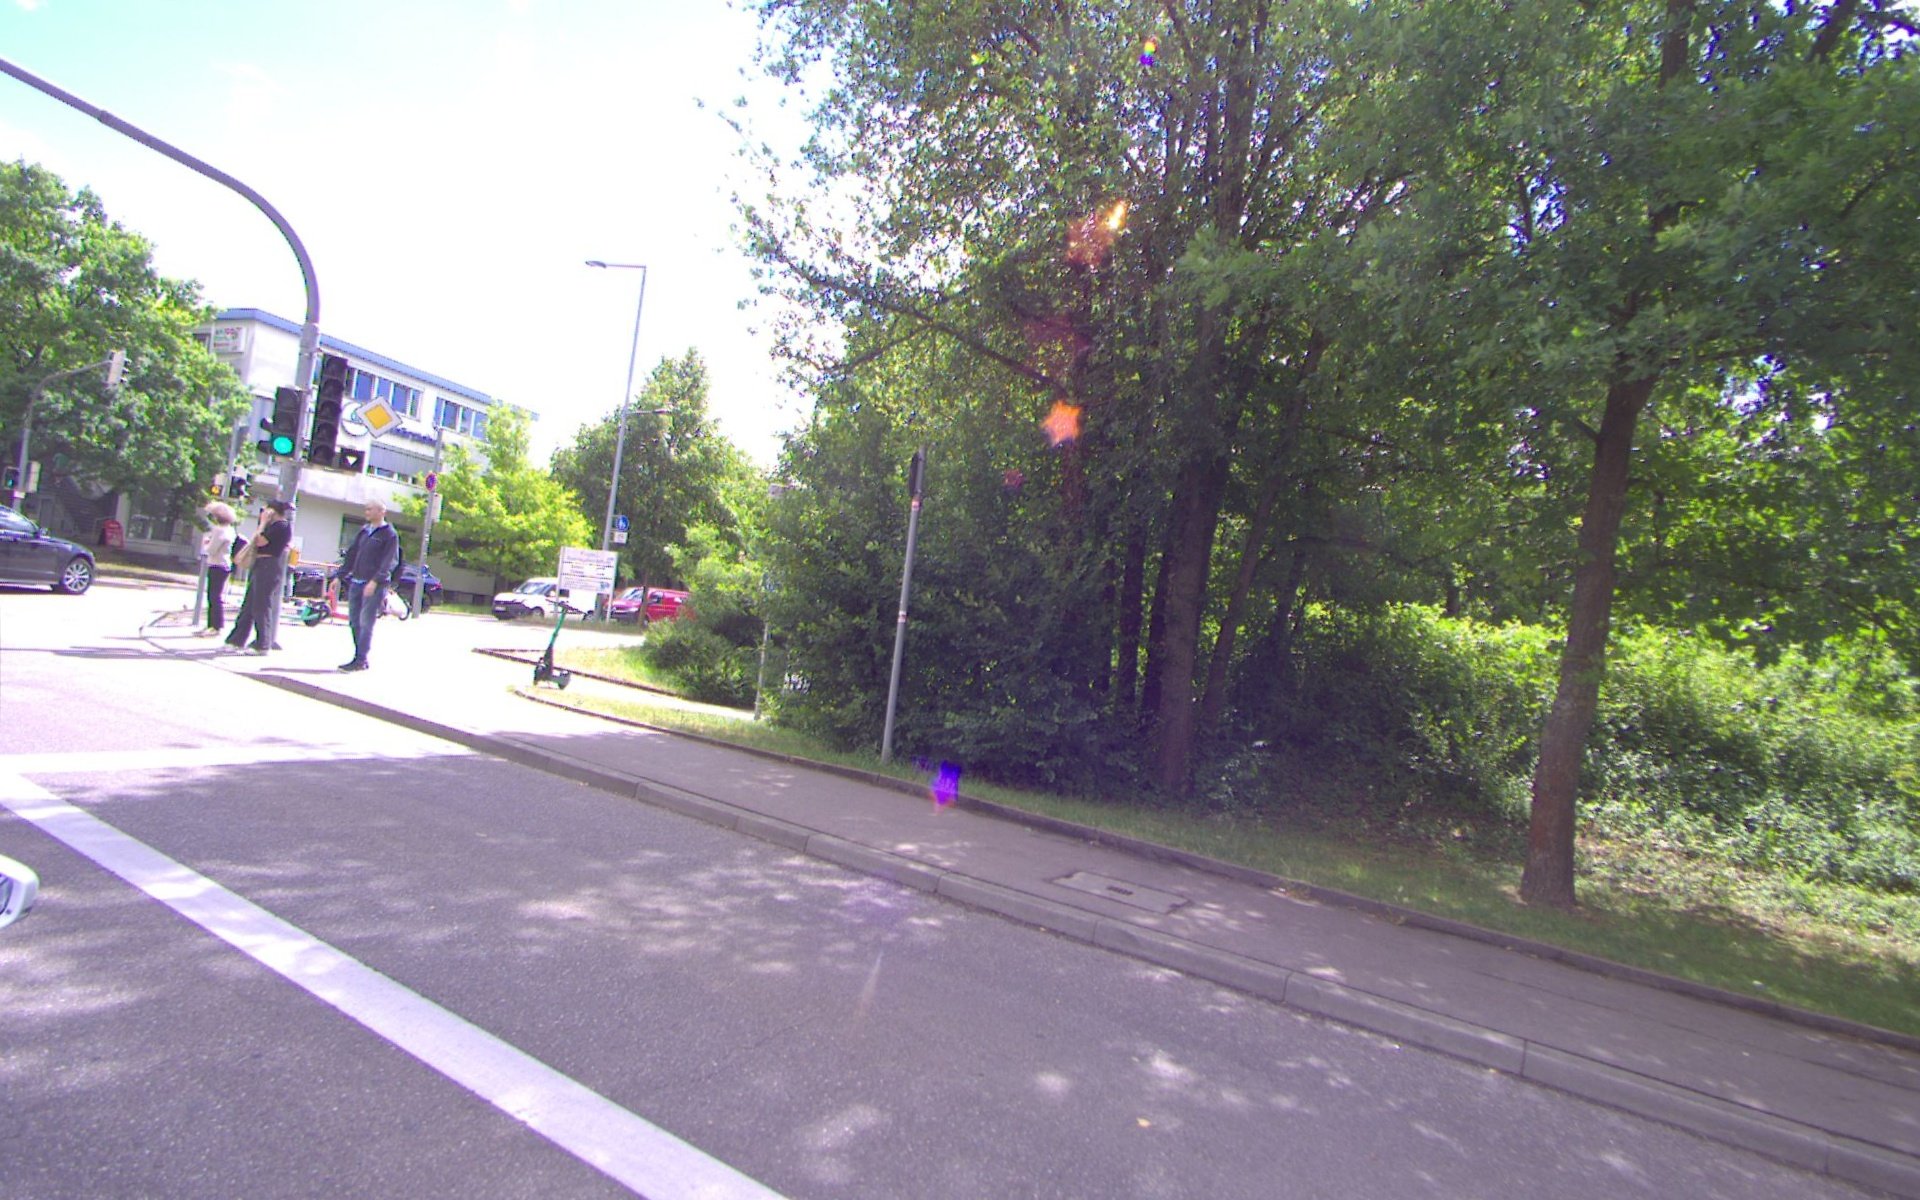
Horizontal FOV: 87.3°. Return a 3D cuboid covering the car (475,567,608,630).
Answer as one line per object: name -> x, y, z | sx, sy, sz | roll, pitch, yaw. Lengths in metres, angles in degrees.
car -> -15.860, -0.023, 38.357 | 1.964, 1.784, 4.387 | 7, -2, 24

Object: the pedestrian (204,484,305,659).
pedestrian -> -8.074, -0.323, 11.521 | 0.510, 1.898, 0.636 | 7, -1, 38

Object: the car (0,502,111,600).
car -> -15.564, -0.900, 15.319 | 1.875, 1.438, 4.533 | 8, -2, -10

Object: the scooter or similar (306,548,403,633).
scooter or similar -> -10.447, -0.151, 17.384 | 0.546, 1.286, 1.152 | 7, -2, 35

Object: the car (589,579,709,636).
car -> -13.427, 0.368, 43.775 | 1.964, 1.820, 4.979 | 7, -2, 25

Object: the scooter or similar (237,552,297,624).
scooter or similar -> -11.765, -0.211, 17.062 | 0.546, 1.076, 1.246 | 8, -1, -43

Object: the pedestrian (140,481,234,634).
pedestrian -> -9.579, -0.515, 12.469 | 0.510, 1.787, 0.636 | 7, -1, 38

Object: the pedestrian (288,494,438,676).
pedestrian -> -6.779, -0.136, 11.479 | 0.783, 1.897, 1.015 | 8, -1, 9

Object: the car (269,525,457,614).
car -> -18.469, -0.873, 31.382 | 1.964, 2.036, 4.551 | 7, -2, 25

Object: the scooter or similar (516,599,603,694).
scooter or similar -> -5.909, 0.695, 14.885 | 0.447, 1.242, 0.893 | 7, -6, 32

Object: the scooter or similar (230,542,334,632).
scooter or similar -> -10.638, -0.192, 15.808 | 0.531, 1.249, 1.111 | 7, -1, 35

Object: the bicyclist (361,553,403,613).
bicyclist -> -12.089, -0.356, 21.057 | 0.392, 1.170, 0.503 | 8, -1, 24

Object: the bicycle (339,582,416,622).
bicycle -> -12.204, 0.046, 21.078 | 1.562, 0.617, 0.534 | 7, -1, 24
